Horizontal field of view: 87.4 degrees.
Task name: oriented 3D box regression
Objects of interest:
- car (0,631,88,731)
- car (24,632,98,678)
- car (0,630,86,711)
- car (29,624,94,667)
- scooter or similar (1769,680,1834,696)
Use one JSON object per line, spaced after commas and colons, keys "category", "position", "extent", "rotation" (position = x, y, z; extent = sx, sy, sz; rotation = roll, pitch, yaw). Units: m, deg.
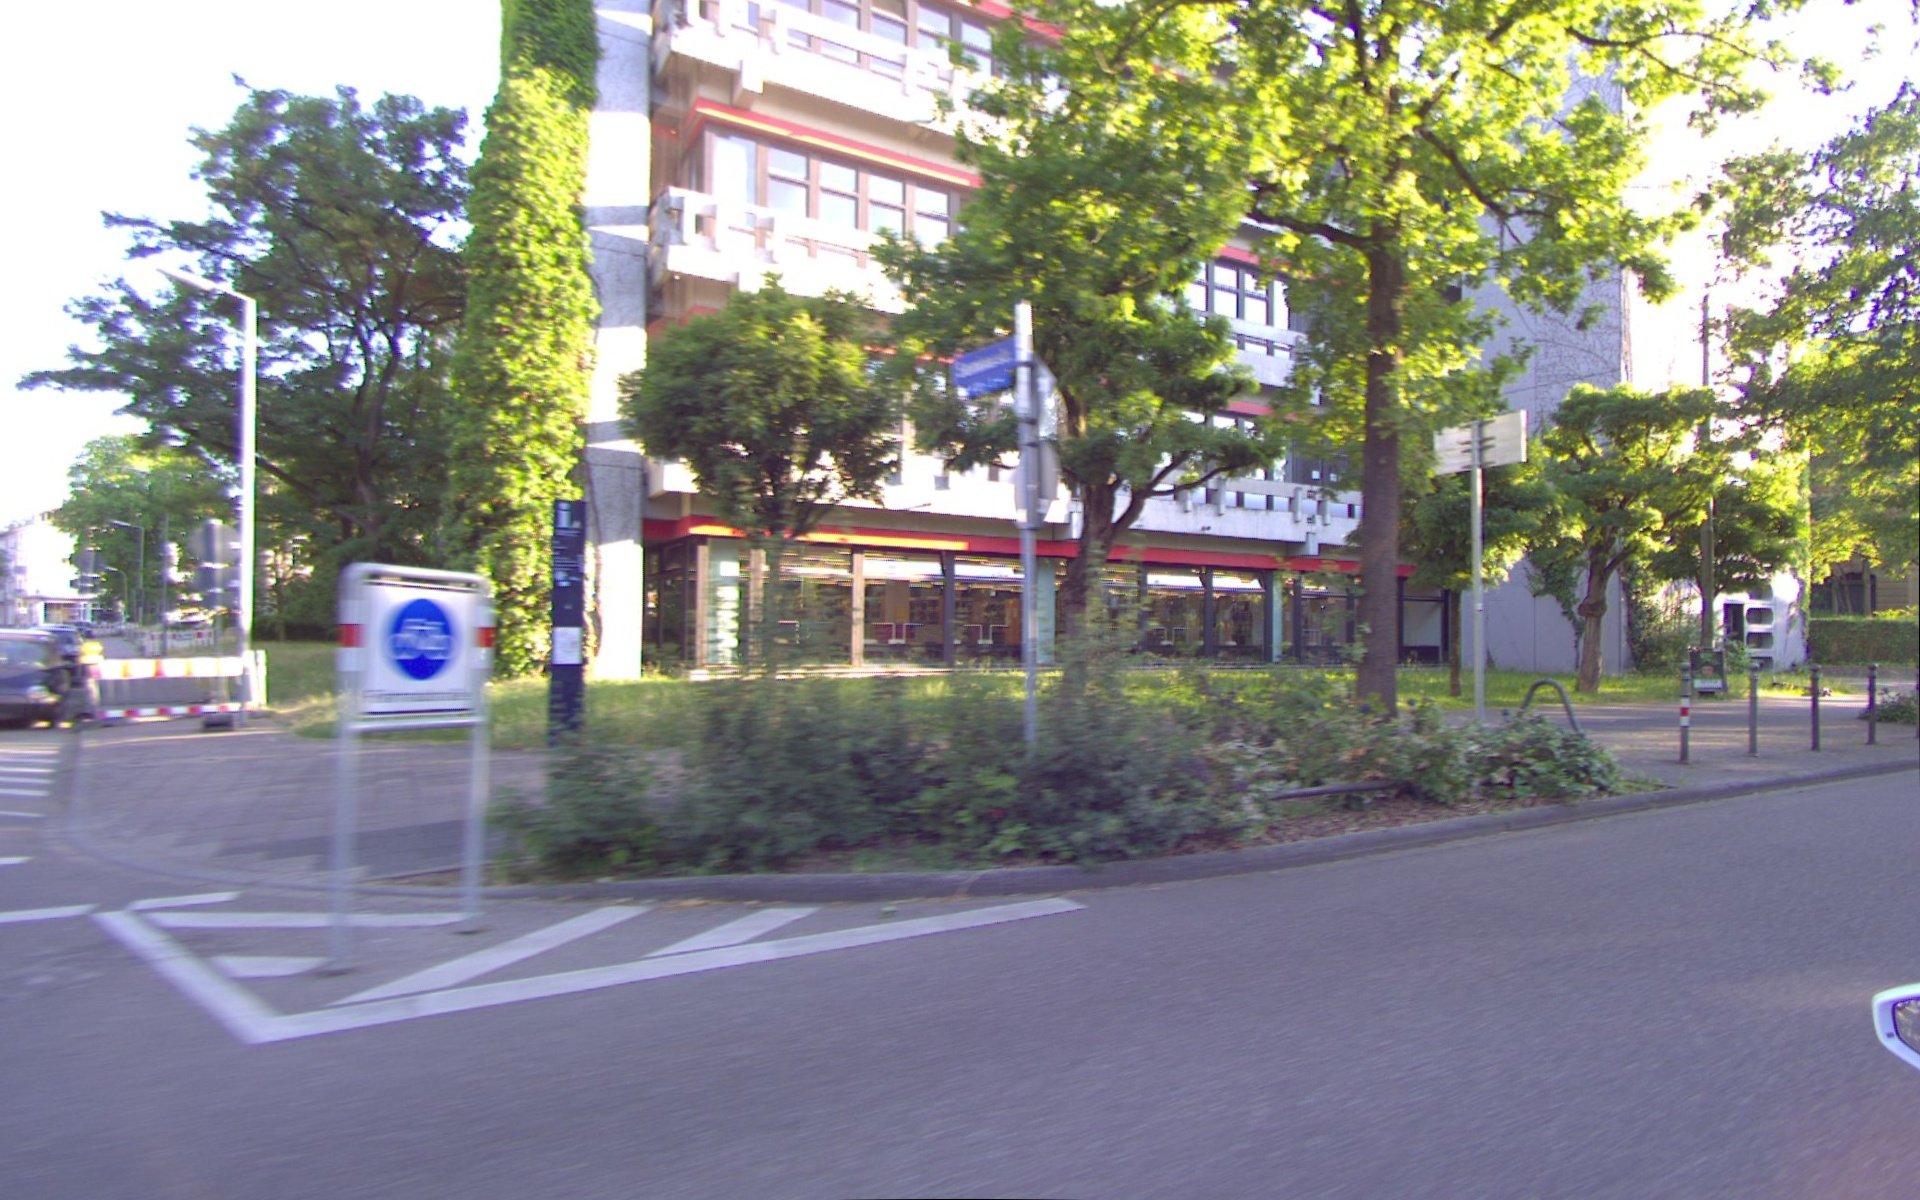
{"category": "car", "position": [-15.475, 1.247, 16.384], "extent": [1.764, 1.468, 3.916], "rotation": [5, -4, -40]}
{"category": "car", "position": [-27.996, 1.683, 31.362], "extent": [1.616, 1.309, 3.756], "rotation": [2, -2, -40]}
{"category": "car", "position": [-18.046, 1.311, 19.309], "extent": [1.764, 1.425, 3.602], "rotation": [5, -4, -40]}
{"category": "car", "position": [-34.547, 1.708, 38.713], "extent": [1.726, 1.572, 3.953], "rotation": [2, -2, -40]}
{"category": "scooter or similar", "position": [21.003, 2.181, 25.059], "extent": [1.149, 0.280, 1.243], "rotation": [0, -1, 45]}
